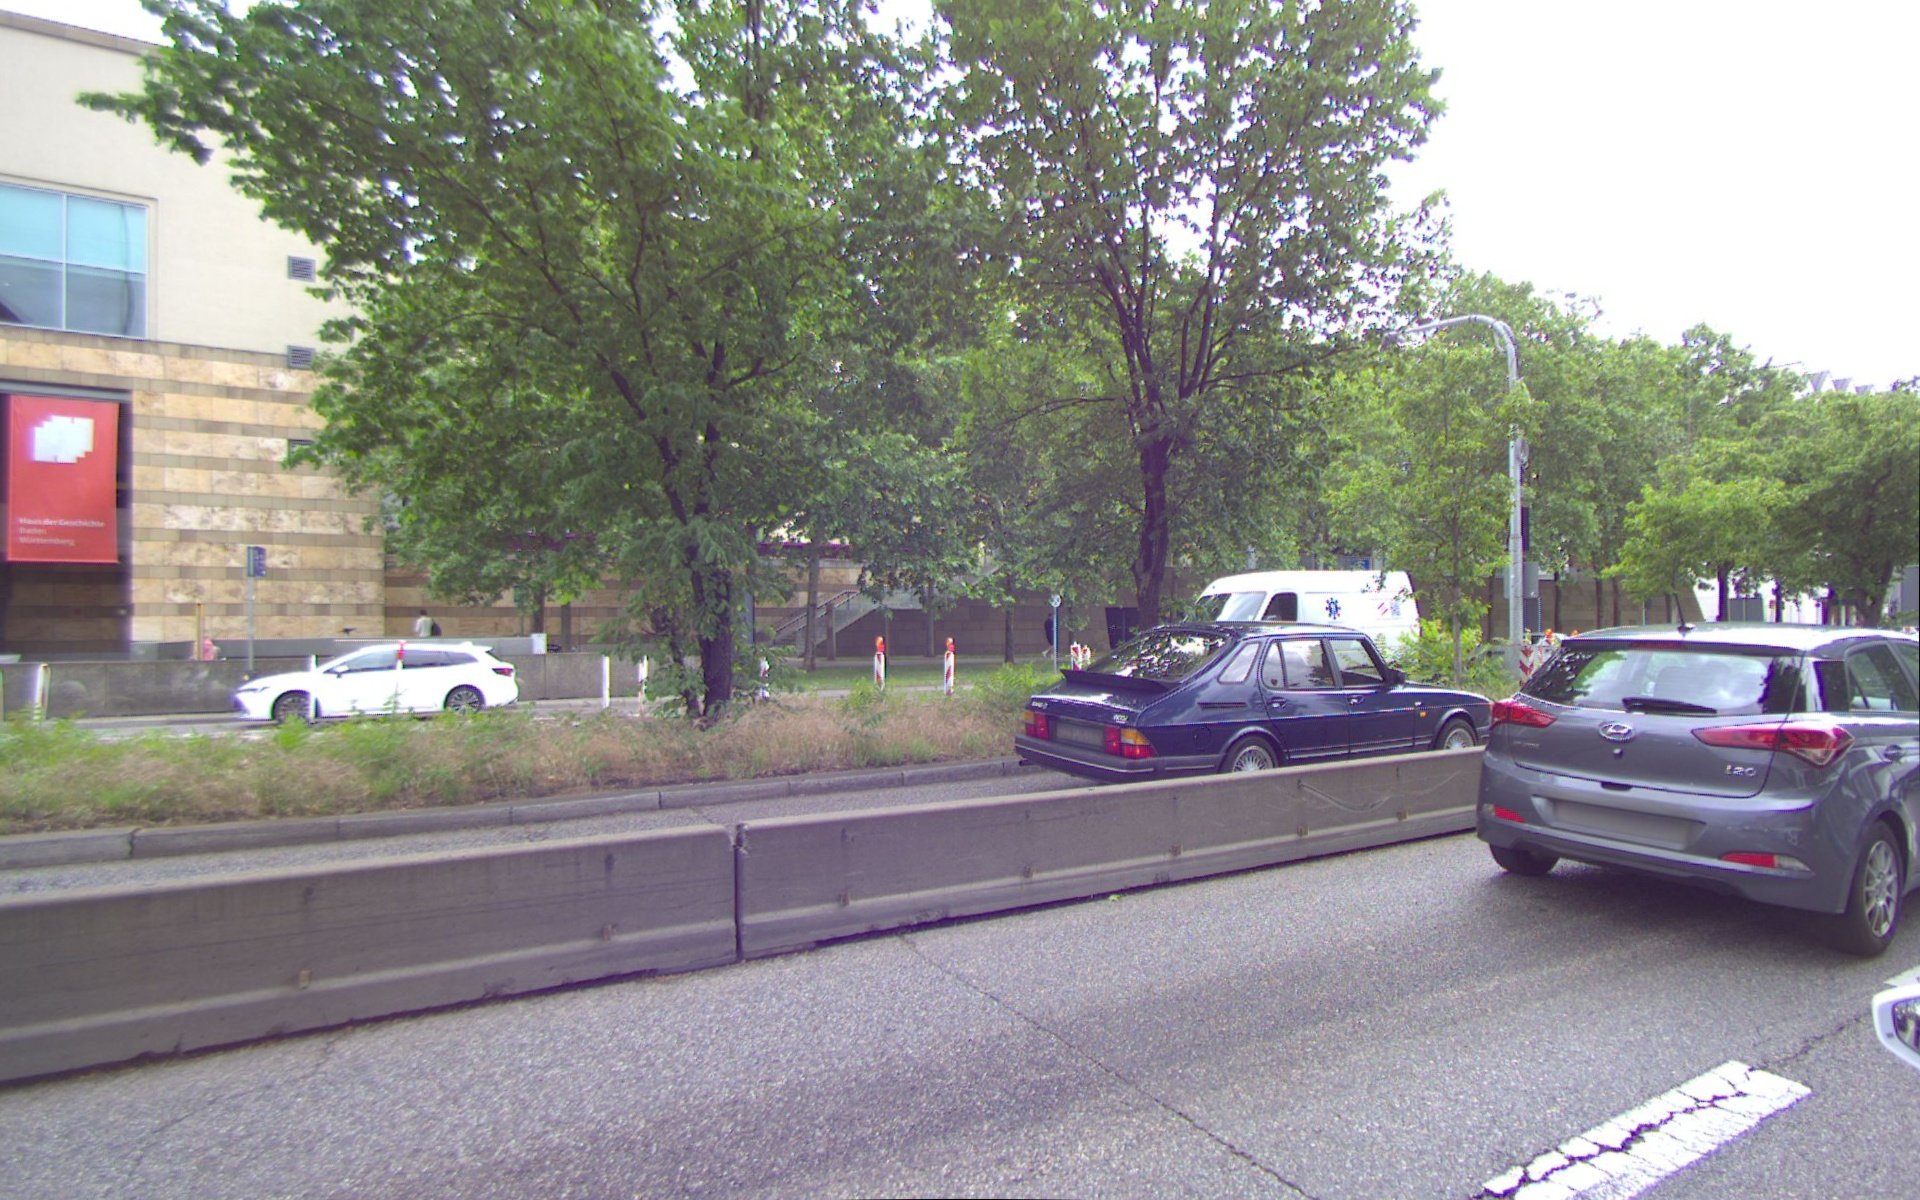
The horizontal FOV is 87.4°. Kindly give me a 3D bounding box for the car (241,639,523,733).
[{"bbox_3d":[-10.838,1.547,19.114,4.470,1.547,1.637,1,-1,-31],"label":"car"}]

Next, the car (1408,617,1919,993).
[{"bbox_3d":[4.591,0.849,5.776,3.975,1.456,1.788,1,0,-32],"label":"car"}]

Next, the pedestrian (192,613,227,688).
[{"bbox_3d":[-15.896,1.049,21.265,0.523,1.552,0.555,0,-1,-45],"label":"pedestrian"}]

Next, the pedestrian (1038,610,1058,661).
[{"bbox_3d":[3.545,1.414,40.406,0.657,2.040,0.449,0,-1,-31],"label":"pedestrian"}]

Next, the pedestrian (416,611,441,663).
[{"bbox_3d":[-16.538,1.144,31.277,0.616,1.590,0.434,1,-1,-38],"label":"pedestrian"}]

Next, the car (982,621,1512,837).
[{"bbox_3d":[2.511,0.873,8.389,4.491,1.385,1.670,1,-1,-31],"label":"car"}]

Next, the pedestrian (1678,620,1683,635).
[{"bbox_3d":[49.858,1.901,69.537,0.212,1.093,0.258,2,1,42],"label":"pedestrian"}]

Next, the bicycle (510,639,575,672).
[{"bbox_3d":[-13.032,1.729,31.369,1.821,1.008,0.487,1,1,-26],"label":"bicycle"}]

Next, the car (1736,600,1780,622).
[{"bbox_3d":[74.022,1.030,93.155,3.954,1.940,1.984,1,-1,-31],"label":"car"}]

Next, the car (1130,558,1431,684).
[{"bbox_3d":[5.900,0.370,18.246,5.513,1.995,2.105,1,-1,-31],"label":"car"}]

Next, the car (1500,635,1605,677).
[{"bbox_3d":[22.792,2.105,38.618,3.954,1.477,1.839,1,-1,-31],"label":"car"}]
